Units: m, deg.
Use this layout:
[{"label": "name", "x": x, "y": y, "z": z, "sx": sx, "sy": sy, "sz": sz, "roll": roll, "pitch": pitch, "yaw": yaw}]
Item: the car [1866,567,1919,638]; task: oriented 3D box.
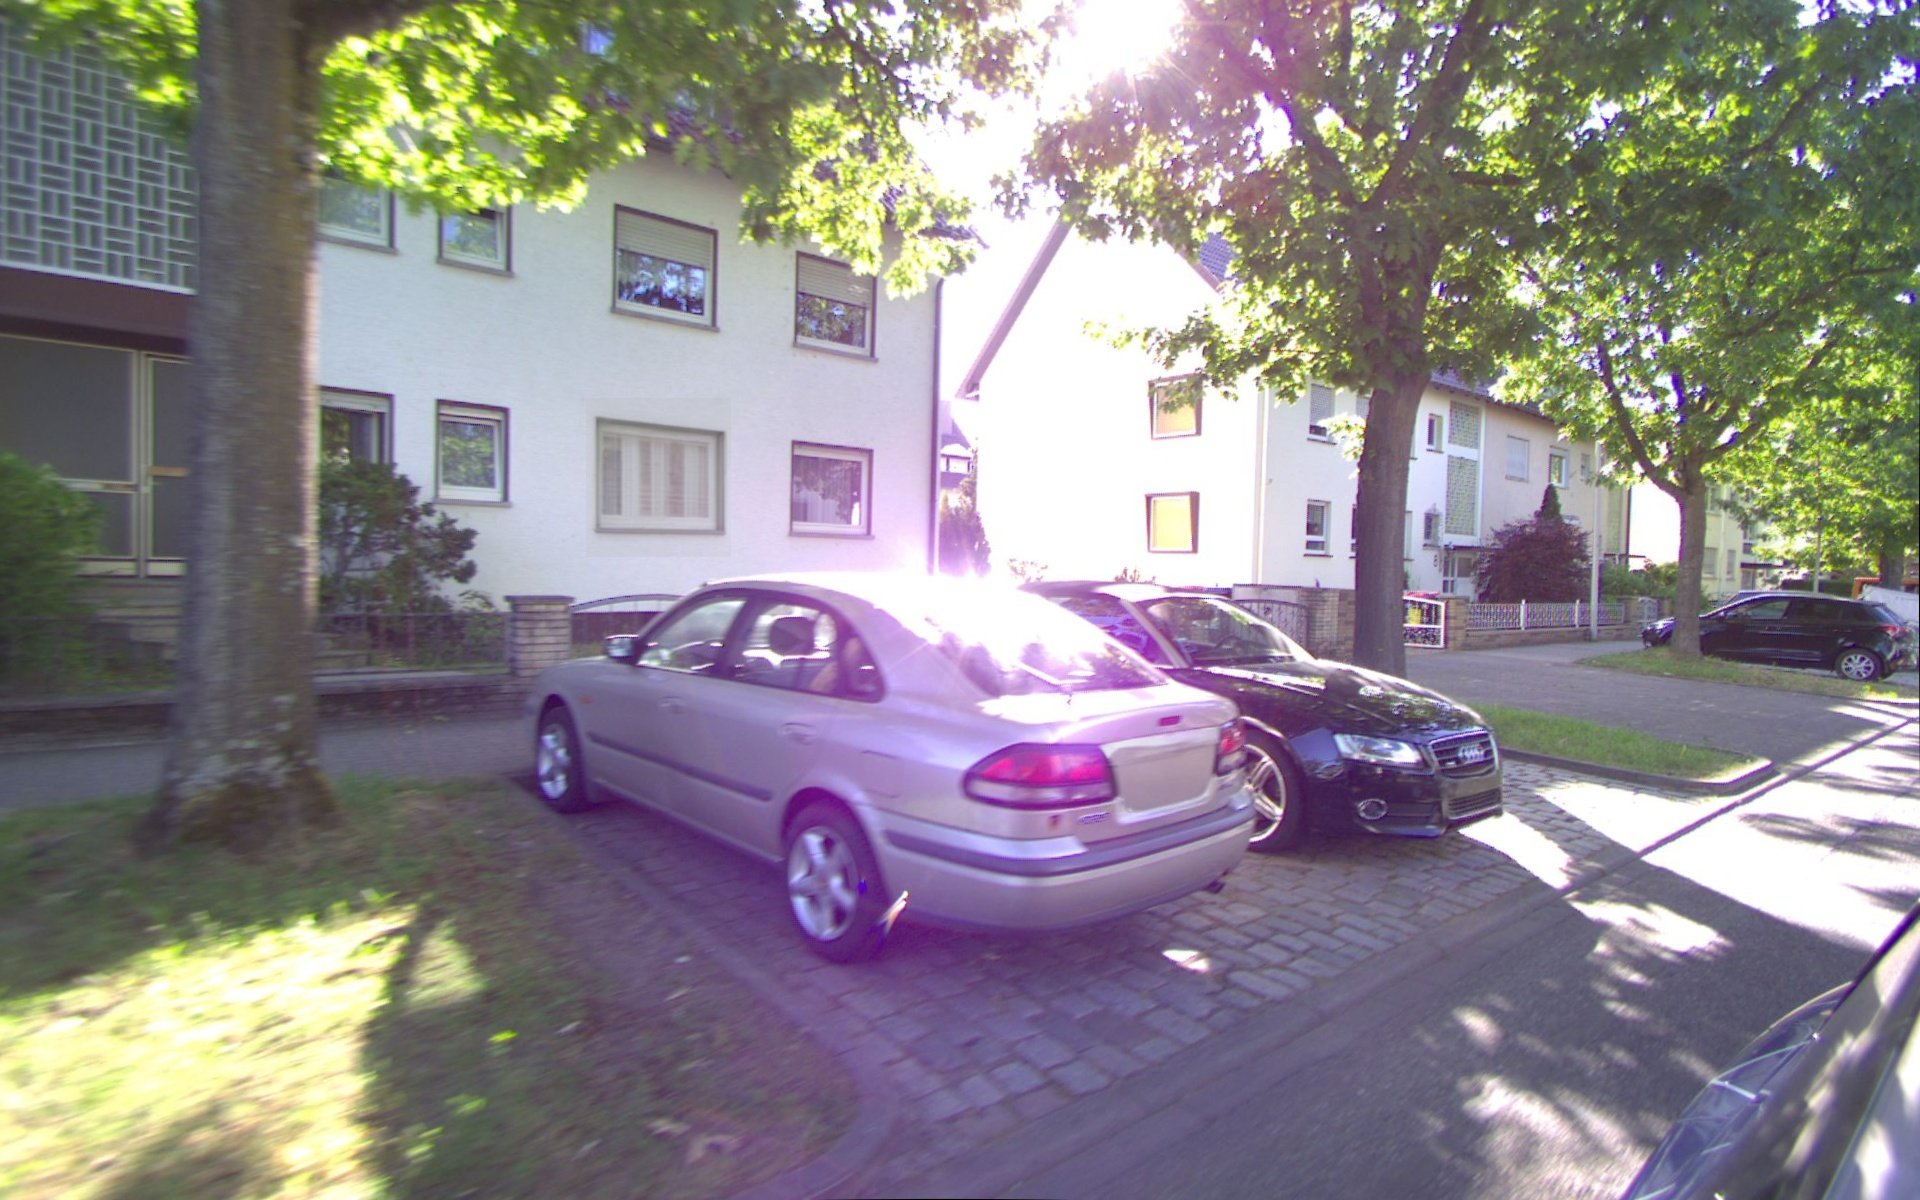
[{"label": "car", "x": 30.603, "y": 0.144, "z": 30.307, "sx": 2.048, "sy": 2.109, "sz": 4.833, "roll": 0, "pitch": 3, "yaw": -38}]

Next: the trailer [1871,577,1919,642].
[{"label": "trailer", "x": 26.939, "y": 0.318, "z": 27.581, "sx": 1.588, "sy": 1.683, "sz": 2.950, "roll": -2, "pitch": 5, "yaw": -44}]

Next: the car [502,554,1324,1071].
[{"label": "car", "x": -0.623, "y": 0.545, "z": 5.121, "sx": 1.767, "sy": 1.431, "sz": 4.281, "roll": 0, "pitch": 3, "yaw": -44}]

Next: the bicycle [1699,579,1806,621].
[{"label": "bicycle", "x": 27.621, "y": -0.016, "z": 35.350, "sx": 0.459, "sy": 1.252, "sz": 2.868, "roll": -1, "pitch": 5, "yaw": -37}]

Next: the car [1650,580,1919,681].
[{"label": "car", "x": 15.292, "y": 0.459, "z": 18.670, "sx": 1.631, "sy": 1.534, "sz": 3.894, "roll": -1, "pitch": 3, "yaw": -38}]

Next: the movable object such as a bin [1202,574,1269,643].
[{"label": "movable object such as a bin", "x": 4.738, "y": 0.125, "z": 17.415, "sx": 0.890, "sy": 1.125, "sz": 0.704, "roll": -1, "pitch": 3, "yaw": -40}]

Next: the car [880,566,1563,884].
[{"label": "car", "x": 1.433, "y": 0.518, "z": 7.040, "sx": 1.840, "sy": 1.379, "sz": 4.358, "roll": -1, "pitch": 4, "yaw": -39}]

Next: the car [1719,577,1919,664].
[{"label": "car", "x": 19.086, "y": 0.389, "z": 21.881, "sx": 1.727, "sy": 1.643, "sz": 3.995, "roll": -2, "pitch": 4, "yaw": -41}]

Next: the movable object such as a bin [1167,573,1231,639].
[{"label": "movable object such as a bin", "x": 4.251, "y": 0.096, "z": 18.030, "sx": 0.890, "sy": 1.112, "sz": 0.704, "roll": -1, "pitch": 3, "yaw": -40}]

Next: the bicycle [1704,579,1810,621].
[{"label": "bicycle", "x": 28.001, "y": -0.028, "z": 35.640, "sx": 0.459, "sy": 1.252, "sz": 2.868, "roll": -1, "pitch": 4, "yaw": -37}]
